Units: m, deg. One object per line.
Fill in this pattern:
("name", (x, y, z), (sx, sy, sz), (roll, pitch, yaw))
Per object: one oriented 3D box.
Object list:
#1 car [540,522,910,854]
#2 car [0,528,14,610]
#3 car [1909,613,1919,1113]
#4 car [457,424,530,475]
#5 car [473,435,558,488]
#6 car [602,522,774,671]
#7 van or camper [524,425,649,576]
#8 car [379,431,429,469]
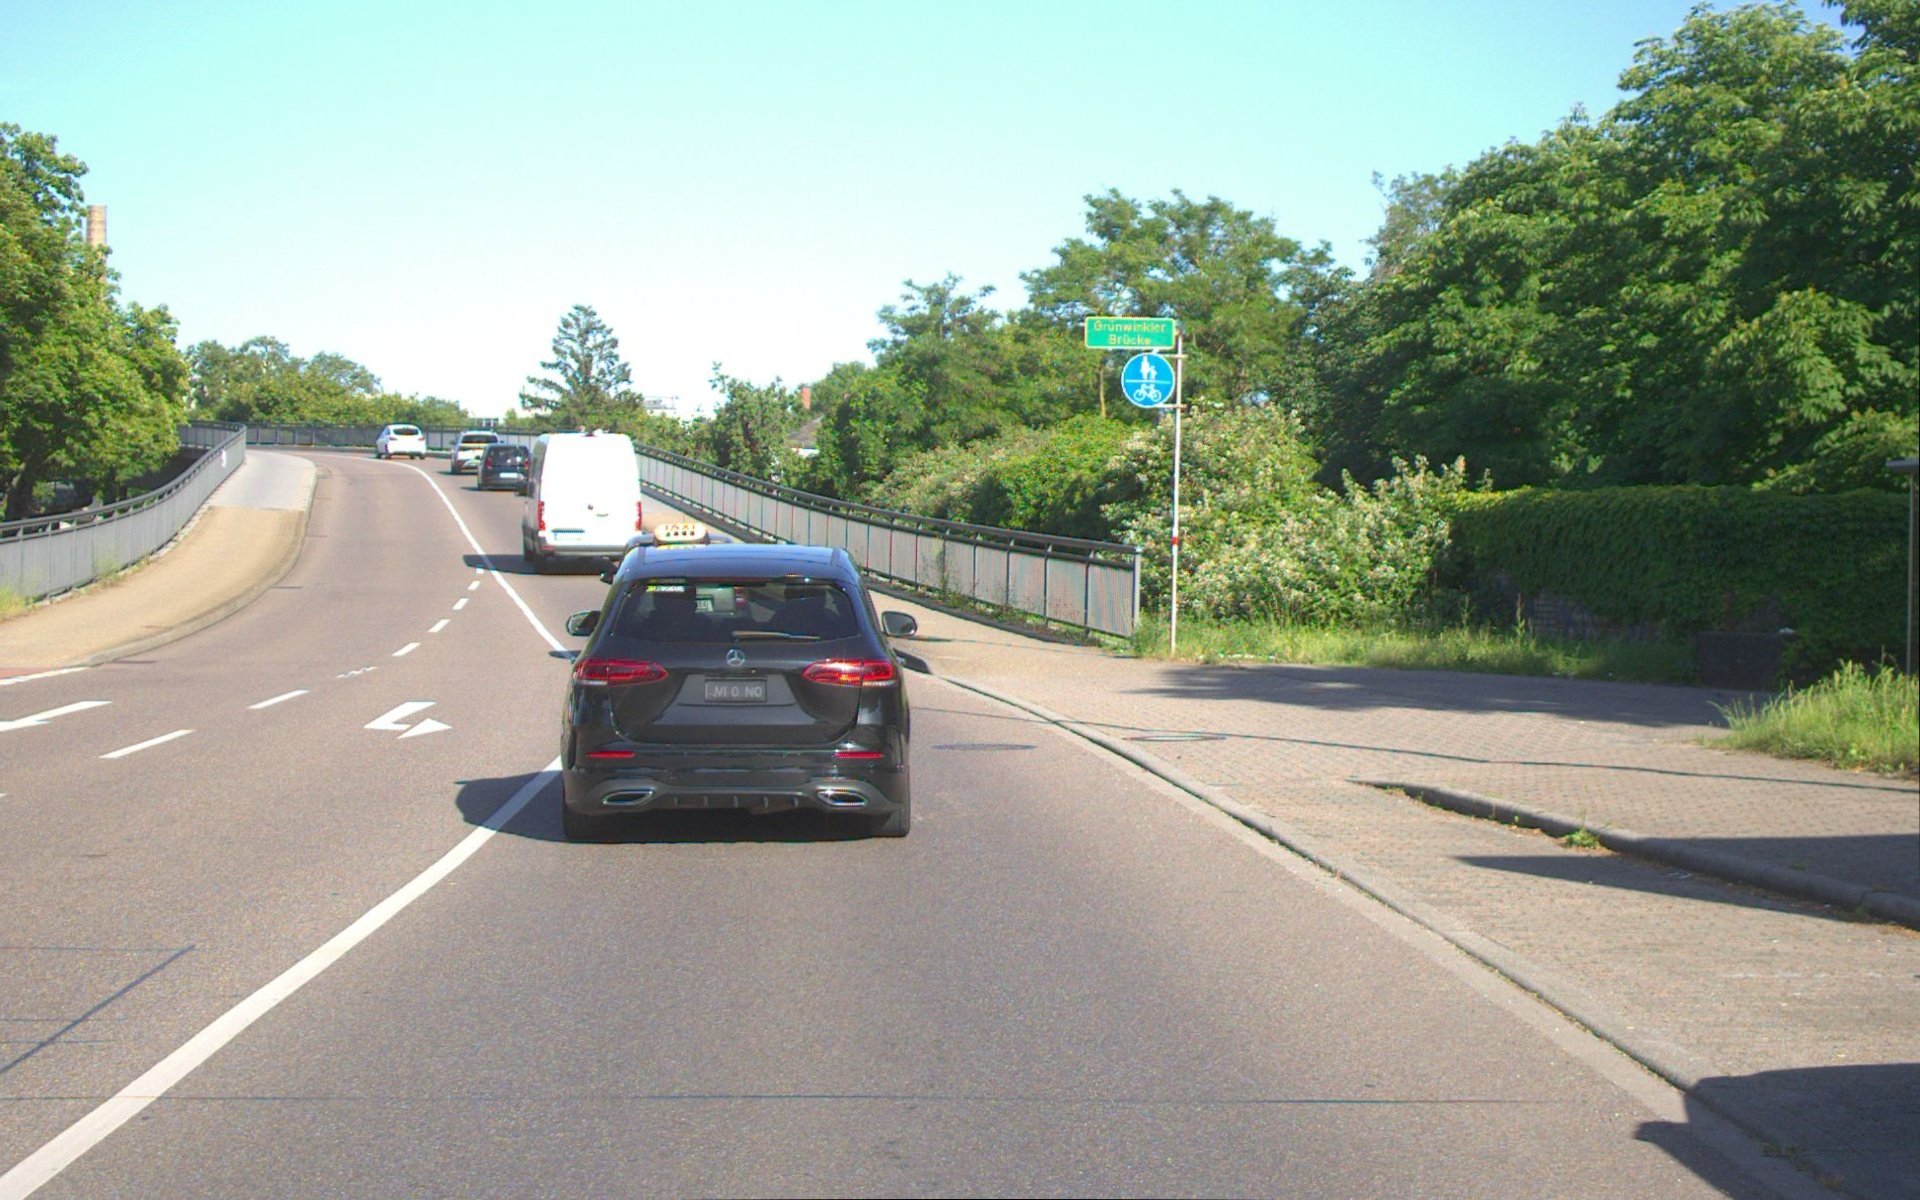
("car", (-1.337, 0.411, 18.833), (1.769, 1.587, 3.990), (1, 1, -6))
("car", (-24.428, -0.758, 83.726), (1.923, 1.984, 4.258), (2, 1, -5))
("car", (3.488, 0.675, 6.781), (1.808, 1.414, 4.425), (1, 1, -3))
("car", (-16.627, -5.370, 122.705), (1.993, 1.674, 4.000), (0, 0, 1))
("car", (-13.762, -4.282, 106.587), (1.918, 1.483, 4.270), (0, 0, 3))
("car", (-3.276, -0.046, 40.782), (1.804, 1.634, 4.001), (1, 0, -7))
("van or camper", (-7.297, -1.933, 67.013), (2.226, 2.729, 7.082), (2, 1, -7))
("car", (-24.151, -6.506, 149.366), (1.876, 1.538, 4.001), (1, 1, -13))
